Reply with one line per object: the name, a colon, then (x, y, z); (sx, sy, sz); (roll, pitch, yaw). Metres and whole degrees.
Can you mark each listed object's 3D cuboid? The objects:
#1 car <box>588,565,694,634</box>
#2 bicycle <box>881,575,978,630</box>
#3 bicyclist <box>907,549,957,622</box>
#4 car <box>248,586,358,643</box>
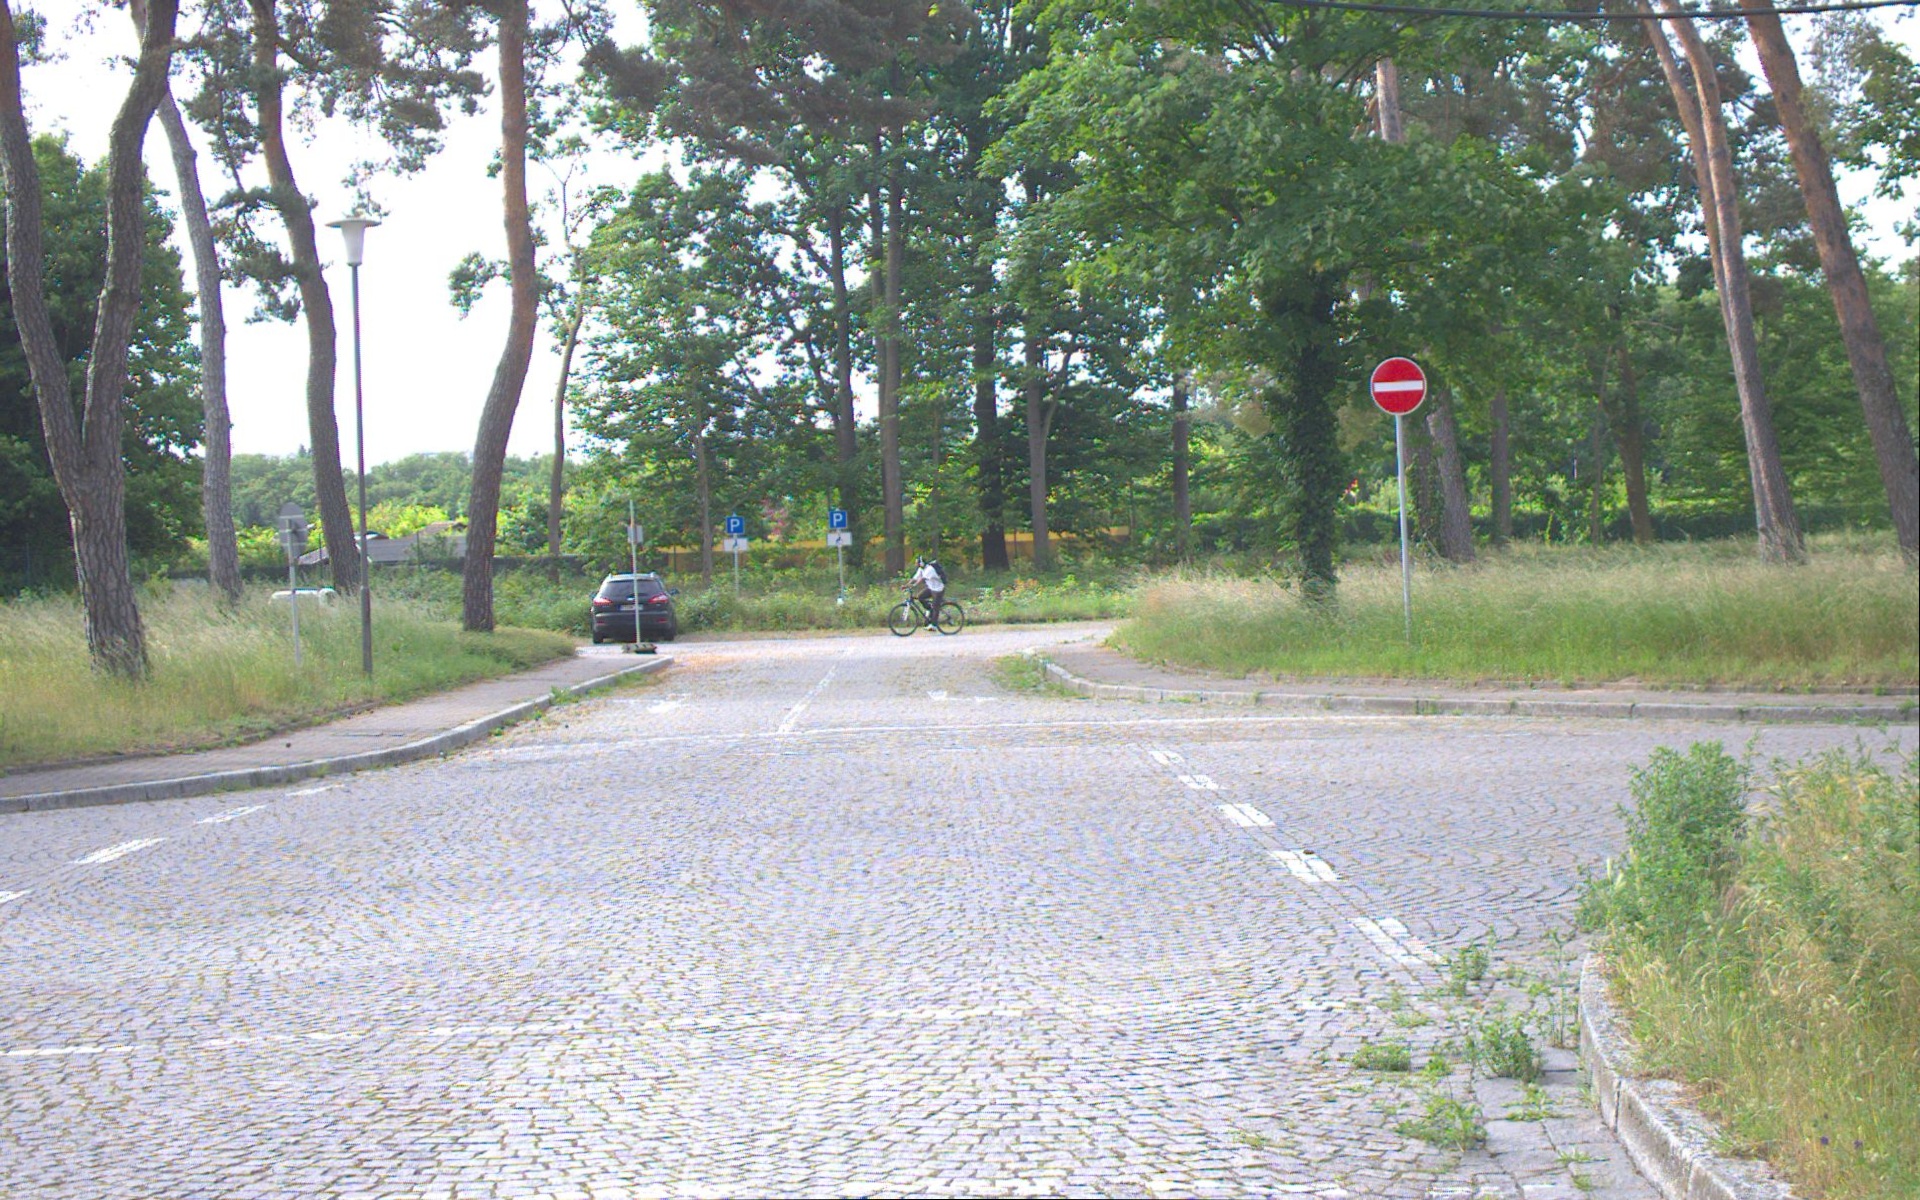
car: (-7.189, -0.031, 77.837); (1.993, 1.503, 4.000); (0, 1, 0)
bicycle: (-0.665, 0.060, 73.622); (1.986, 1.091, 0.810); (-2, 1, -4)
bicyclist: (-0.602, -0.314, 73.633); (0.974, 1.505, 0.807); (-2, 1, -4)
car: (-14.987, 0.313, 78.552); (1.689, 1.152, 4.000); (-2, 1, 0)
